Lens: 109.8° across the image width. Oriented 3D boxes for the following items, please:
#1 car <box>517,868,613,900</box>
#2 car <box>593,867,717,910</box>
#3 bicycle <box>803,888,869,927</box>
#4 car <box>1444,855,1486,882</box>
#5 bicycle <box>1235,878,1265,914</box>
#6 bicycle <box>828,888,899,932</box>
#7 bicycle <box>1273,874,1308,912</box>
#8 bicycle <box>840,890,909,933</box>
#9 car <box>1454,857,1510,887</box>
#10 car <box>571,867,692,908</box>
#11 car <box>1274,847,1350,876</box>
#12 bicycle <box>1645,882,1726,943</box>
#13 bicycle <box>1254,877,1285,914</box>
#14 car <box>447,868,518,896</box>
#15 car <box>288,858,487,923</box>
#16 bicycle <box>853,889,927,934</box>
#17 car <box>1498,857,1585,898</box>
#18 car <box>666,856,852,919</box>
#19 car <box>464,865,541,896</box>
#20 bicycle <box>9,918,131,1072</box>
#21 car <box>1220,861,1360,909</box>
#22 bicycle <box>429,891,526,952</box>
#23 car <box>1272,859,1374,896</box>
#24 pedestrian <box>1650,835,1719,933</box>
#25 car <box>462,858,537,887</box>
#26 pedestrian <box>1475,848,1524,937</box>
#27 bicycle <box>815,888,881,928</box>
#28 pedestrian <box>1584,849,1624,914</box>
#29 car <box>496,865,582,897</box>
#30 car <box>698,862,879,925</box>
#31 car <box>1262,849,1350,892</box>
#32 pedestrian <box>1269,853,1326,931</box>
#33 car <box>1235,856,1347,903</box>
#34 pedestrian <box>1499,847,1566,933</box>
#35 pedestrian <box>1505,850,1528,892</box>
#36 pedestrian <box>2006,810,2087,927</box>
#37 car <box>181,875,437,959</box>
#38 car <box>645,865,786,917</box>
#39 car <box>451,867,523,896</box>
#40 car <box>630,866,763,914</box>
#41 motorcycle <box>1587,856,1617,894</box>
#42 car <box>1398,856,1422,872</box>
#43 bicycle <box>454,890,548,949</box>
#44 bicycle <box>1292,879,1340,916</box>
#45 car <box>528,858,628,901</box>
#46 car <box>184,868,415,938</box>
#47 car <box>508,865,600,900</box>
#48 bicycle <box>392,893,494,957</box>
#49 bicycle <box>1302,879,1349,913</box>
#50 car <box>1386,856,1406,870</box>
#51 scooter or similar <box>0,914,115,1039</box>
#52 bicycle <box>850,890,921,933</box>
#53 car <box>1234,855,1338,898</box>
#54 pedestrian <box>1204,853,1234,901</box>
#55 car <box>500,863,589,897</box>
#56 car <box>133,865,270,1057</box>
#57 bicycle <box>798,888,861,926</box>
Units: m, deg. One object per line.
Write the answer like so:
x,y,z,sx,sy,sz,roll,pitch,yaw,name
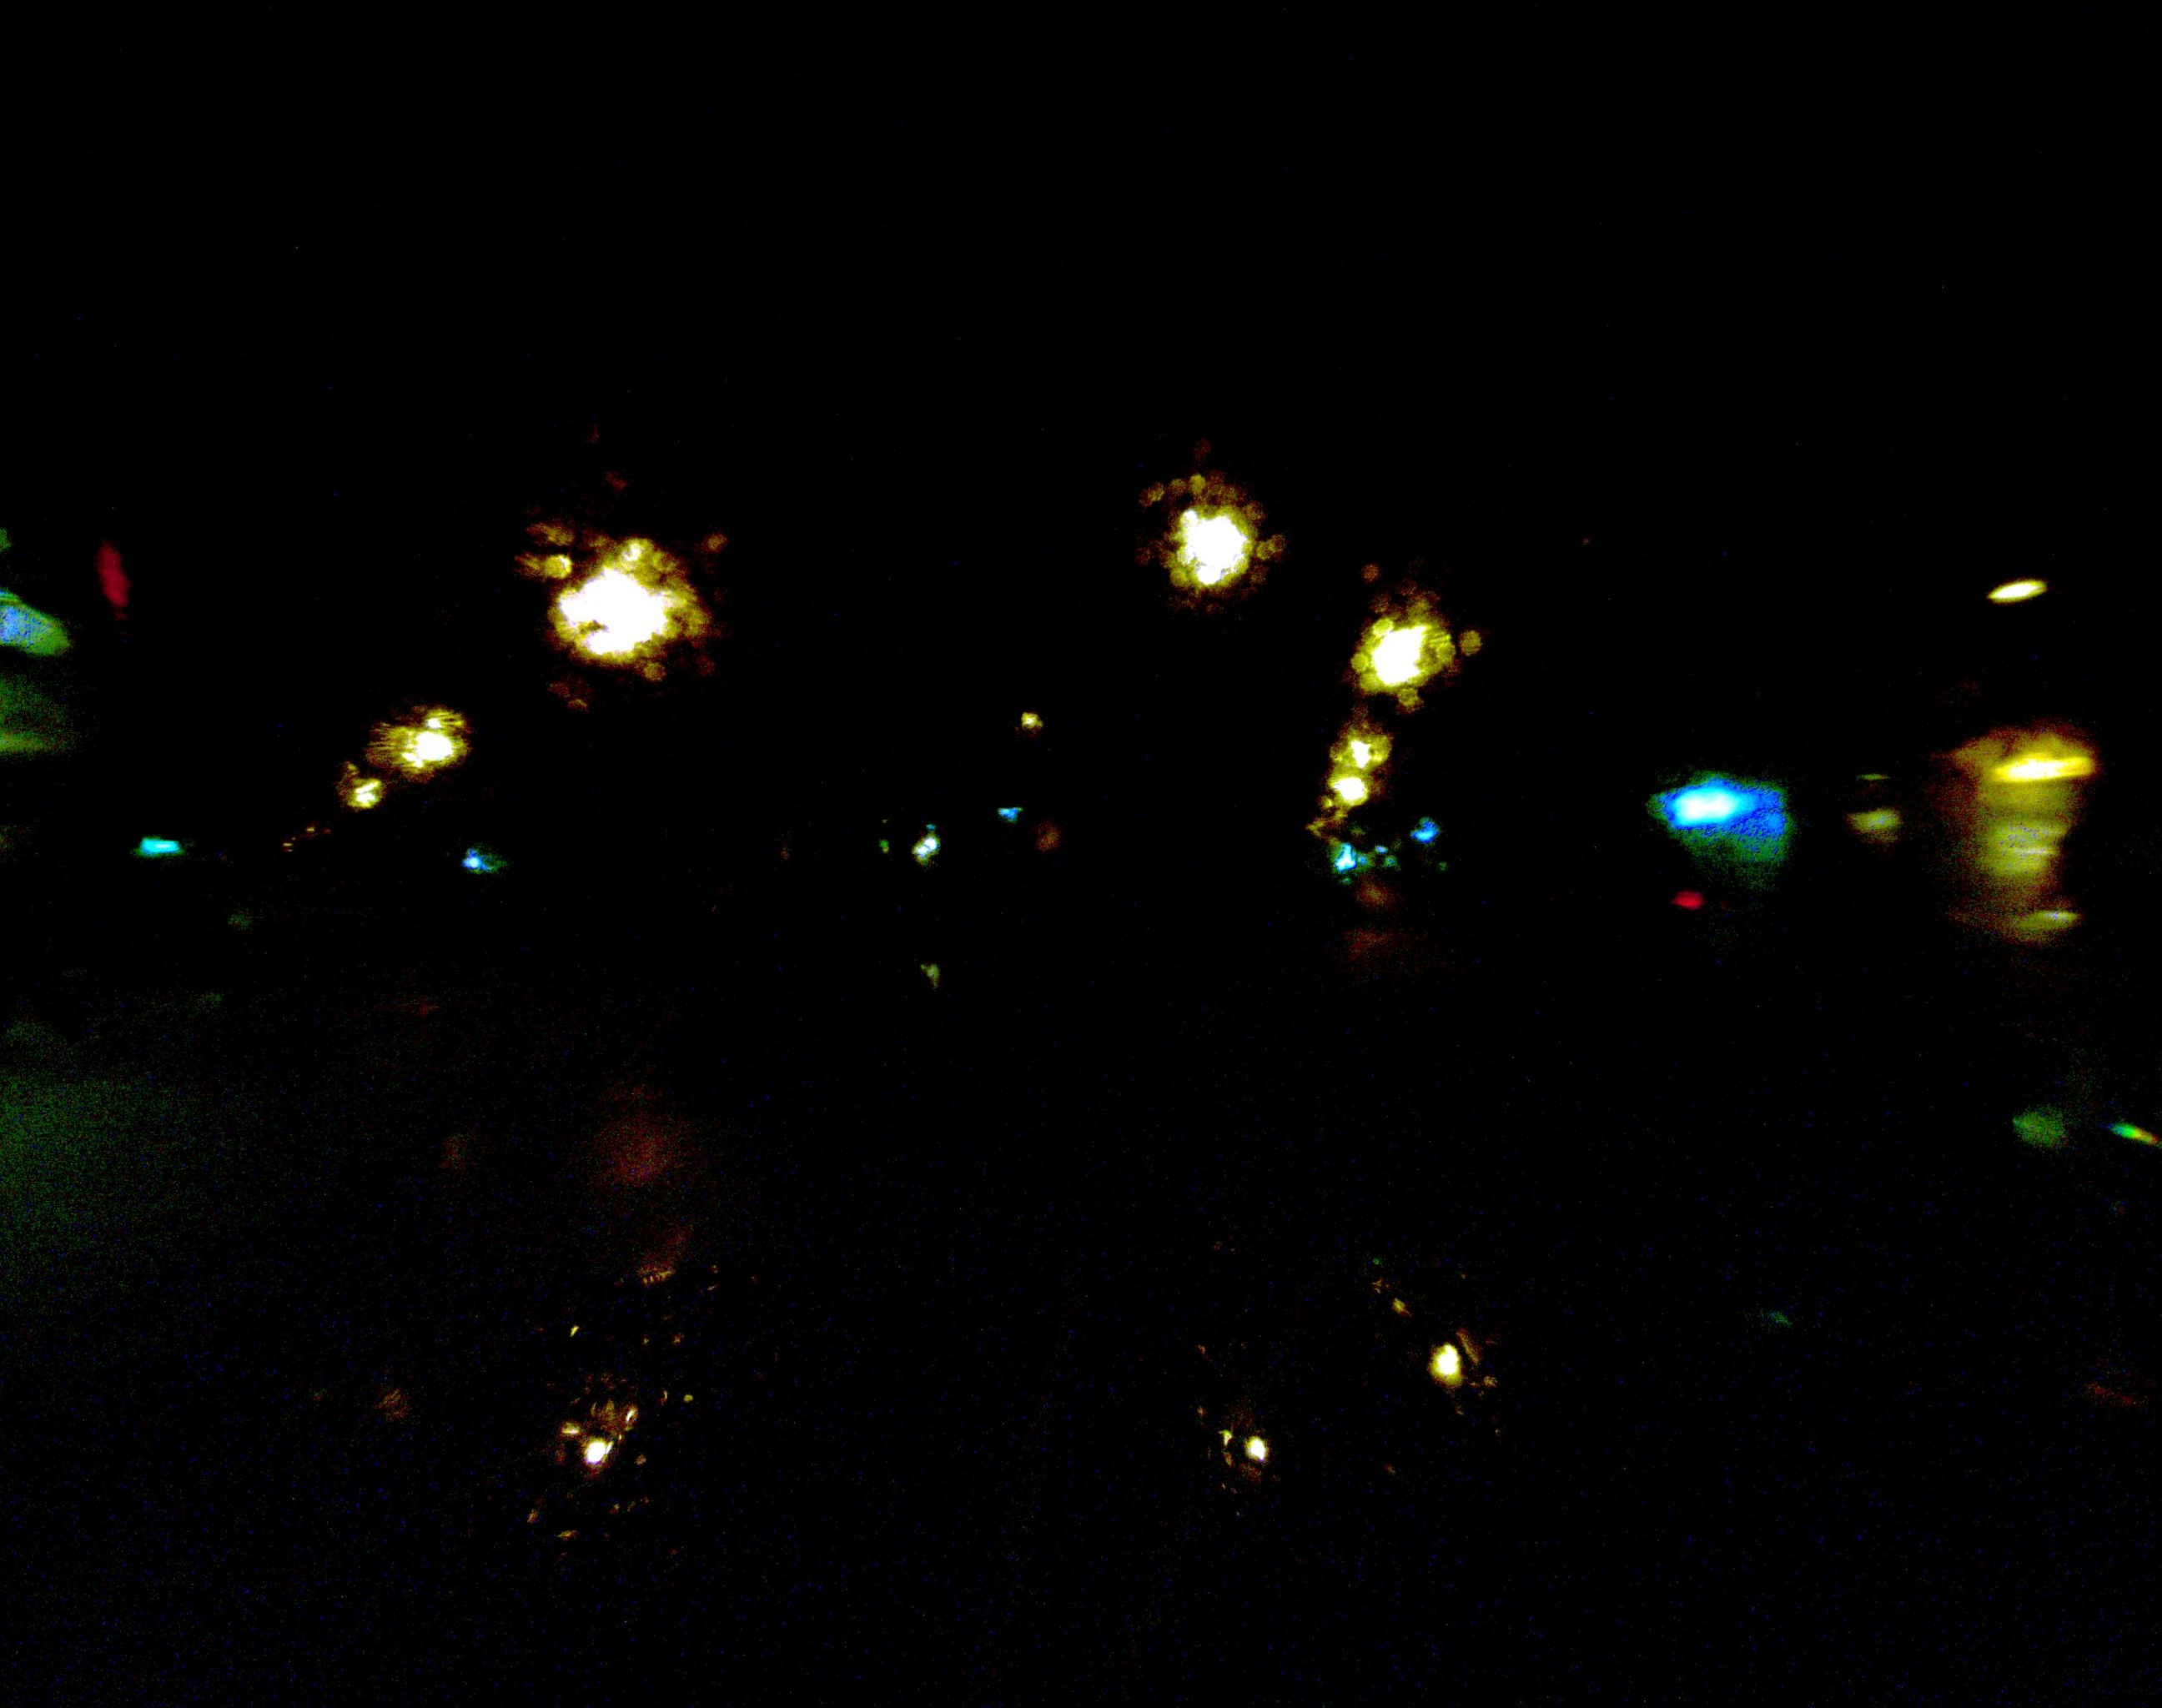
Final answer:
-28.305,1.631,41.737,4.007,1.543,1.995,-3,-1,-43,car
-19.264,1.525,34.502,1.995,1.752,4.472,-2,-1,41,car
-6.961,1.501,21.631,0.402,1.002,1.814,-1,-1,43,bicycle
22.932,0.859,45.470,1.718,1.469,3.791,-3,-1,20,car
5.241,1.289,23.671,0.336,1.020,1.645,0,1,-8,bicycle
-5.714,1.450,20.015,0.402,1.003,1.813,-2,1,43,bicycle
6.505,1.204,23.666,0.336,1.021,1.643,-2,3,-12,bicycle
-5.334,1.466,19.712,0.378,1.002,1.814,-1,-1,43,bicycle
21.139,0.926,40.214,1.718,1.469,4.165,-2,-1,15,car
-21.116,1.540,35.823,1.995,1.752,4.472,-2,-1,41,car
16.165,0.544,53.325,4.713,1.968,1.977,1,0,-11,car
11.575,1.092,14.610,0.713,1.053,1.805,-1,-1,22,bicycle
5.898,1.286,23.848,0.336,1.086,1.645,0,-1,-8,bicycle
-45.632,2.090,57.940,1.994,2.001,4.009,-1,-1,45,car
-19.288,0.952,21.346,1.753,1.568,3.697,-3,0,17,car
-4.721,1.410,18.899,0.454,1.002,1.814,-1,-1,43,bicycle
18.232,0.881,30.338,1.849,1.469,5.038,-2,-1,18,car
-10.978,1.087,26.326,1.995,1.878,5.559,-2,-1,41,car
-39.803,1.811,52.337,1.994,2.001,4.009,-1,-1,45,car
-9.255,1.221,7.003,0.385,1.167,1.782,-1,-1,-44,bicycle
7.144,1.043,26.134,4.264,1.564,1.770,1,0,-10,car
-12.489,1.407,15.725,1.961,1.169,0.452,-3,0,15,bicycle
10.946,1.048,34.410,4.075,1.588,1.831,1,0,-17,car
11.551,0.561,14.575,0.713,1.800,1.127,-1,0,21,pedestrian
-41.590,1.321,54.390,1.994,2.001,4.009,-1,-1,45,car
8.843,0.794,16.082,0.675,1.821,1.079,-3,0,20,pedestrian
-6.509,1.497,21.299,0.402,1.002,1.814,-1,-1,43,bicycle
14.462,0.755,21.023,0.827,1.760,0.601,-2,0,30,pedestrian
-33.423,1.643,46.870,4.007,1.761,1.995,-3,0,-43,car
-9.336,1.198,24.651,1.995,1.752,5.108,-2,-1,41,car
10.956,0.814,37.024,3.743,2.017,1.719,1,0,-17,car
5.226,0.892,18.357,0.985,1.822,0.876,-1,0,-36,pedestrian
8.023,0.954,29.108,3.743,1.702,1.769,1,0,-17,car
10.121,0.777,17.098,0.956,1.852,1.417,-1,0,17,pedestrian
23.445,0.885,40.928,0.800,2.228,1.118,-1,0,17,pedestrian
16.254,0.244,12.808,0.627,1.897,0.656,-1,0,31,pedestrian
-17.635,1.378,17.601,1.753,1.568,3.697,-3,0,17,car
-14.133,1.387,29.600,1.995,1.752,4.472,-2,-1,41,car
-43.895,1.983,56.201,1.994,2.001,4.009,-1,-1,45,car
-15.858,1.446,31.534,1.995,1.752,4.472,-2,-1,41,car
20.922,0.823,30.555,0.537,1.462,1.459,-2,0,17,motorcycle
33.213,1.002,76.831,1.849,1.469,3.740,-3,-1,18,car
-12.383,1.406,16.223,1.961,1.169,0.452,-3,0,15,bicycle
7.287,1.320,23.625,0.336,1.020,1.642,0,1,-27,bicycle
-26.319,1.318,39.804,4.007,2.001,1.995,-3,-1,-43,car
-21.661,1.293,21.307,1.753,1.653,4.112,-3,0,17,car
-29.968,1.597,43.269,4.007,1.762,1.995,-3,0,-43,car
-12.646,1.408,15.054,1.961,1.169,0.452,-3,0,15,bicycle
7.694,1.308,23.976,0.336,1.020,1.642,0,-1,-28,bicycle
38.650,1.136,93.261,1.849,1.571,3.740,-3,-1,18,car
-11.162,1.278,7.900,1.316,1.222,0.525,0,-2,-42,scooter or similar
-4.968,1.445,19.438,0.402,1.002,1.814,-1,-1,43,bicycle
8.519,0.923,31.665,3.796,1.702,1.746,1,0,-17,car
5.306,0.875,29.176,0.789,1.807,0.812,0,2,43,pedestrian
-31.698,1.520,44.952,4.007,1.761,1.995,-3,0,-43,car
-9.122,1.046,7.933,0.961,1.830,0.879,-2,-1,44,car
-7.297,1.524,22.107,0.402,1.002,1.781,-1,-1,43,bicycle
